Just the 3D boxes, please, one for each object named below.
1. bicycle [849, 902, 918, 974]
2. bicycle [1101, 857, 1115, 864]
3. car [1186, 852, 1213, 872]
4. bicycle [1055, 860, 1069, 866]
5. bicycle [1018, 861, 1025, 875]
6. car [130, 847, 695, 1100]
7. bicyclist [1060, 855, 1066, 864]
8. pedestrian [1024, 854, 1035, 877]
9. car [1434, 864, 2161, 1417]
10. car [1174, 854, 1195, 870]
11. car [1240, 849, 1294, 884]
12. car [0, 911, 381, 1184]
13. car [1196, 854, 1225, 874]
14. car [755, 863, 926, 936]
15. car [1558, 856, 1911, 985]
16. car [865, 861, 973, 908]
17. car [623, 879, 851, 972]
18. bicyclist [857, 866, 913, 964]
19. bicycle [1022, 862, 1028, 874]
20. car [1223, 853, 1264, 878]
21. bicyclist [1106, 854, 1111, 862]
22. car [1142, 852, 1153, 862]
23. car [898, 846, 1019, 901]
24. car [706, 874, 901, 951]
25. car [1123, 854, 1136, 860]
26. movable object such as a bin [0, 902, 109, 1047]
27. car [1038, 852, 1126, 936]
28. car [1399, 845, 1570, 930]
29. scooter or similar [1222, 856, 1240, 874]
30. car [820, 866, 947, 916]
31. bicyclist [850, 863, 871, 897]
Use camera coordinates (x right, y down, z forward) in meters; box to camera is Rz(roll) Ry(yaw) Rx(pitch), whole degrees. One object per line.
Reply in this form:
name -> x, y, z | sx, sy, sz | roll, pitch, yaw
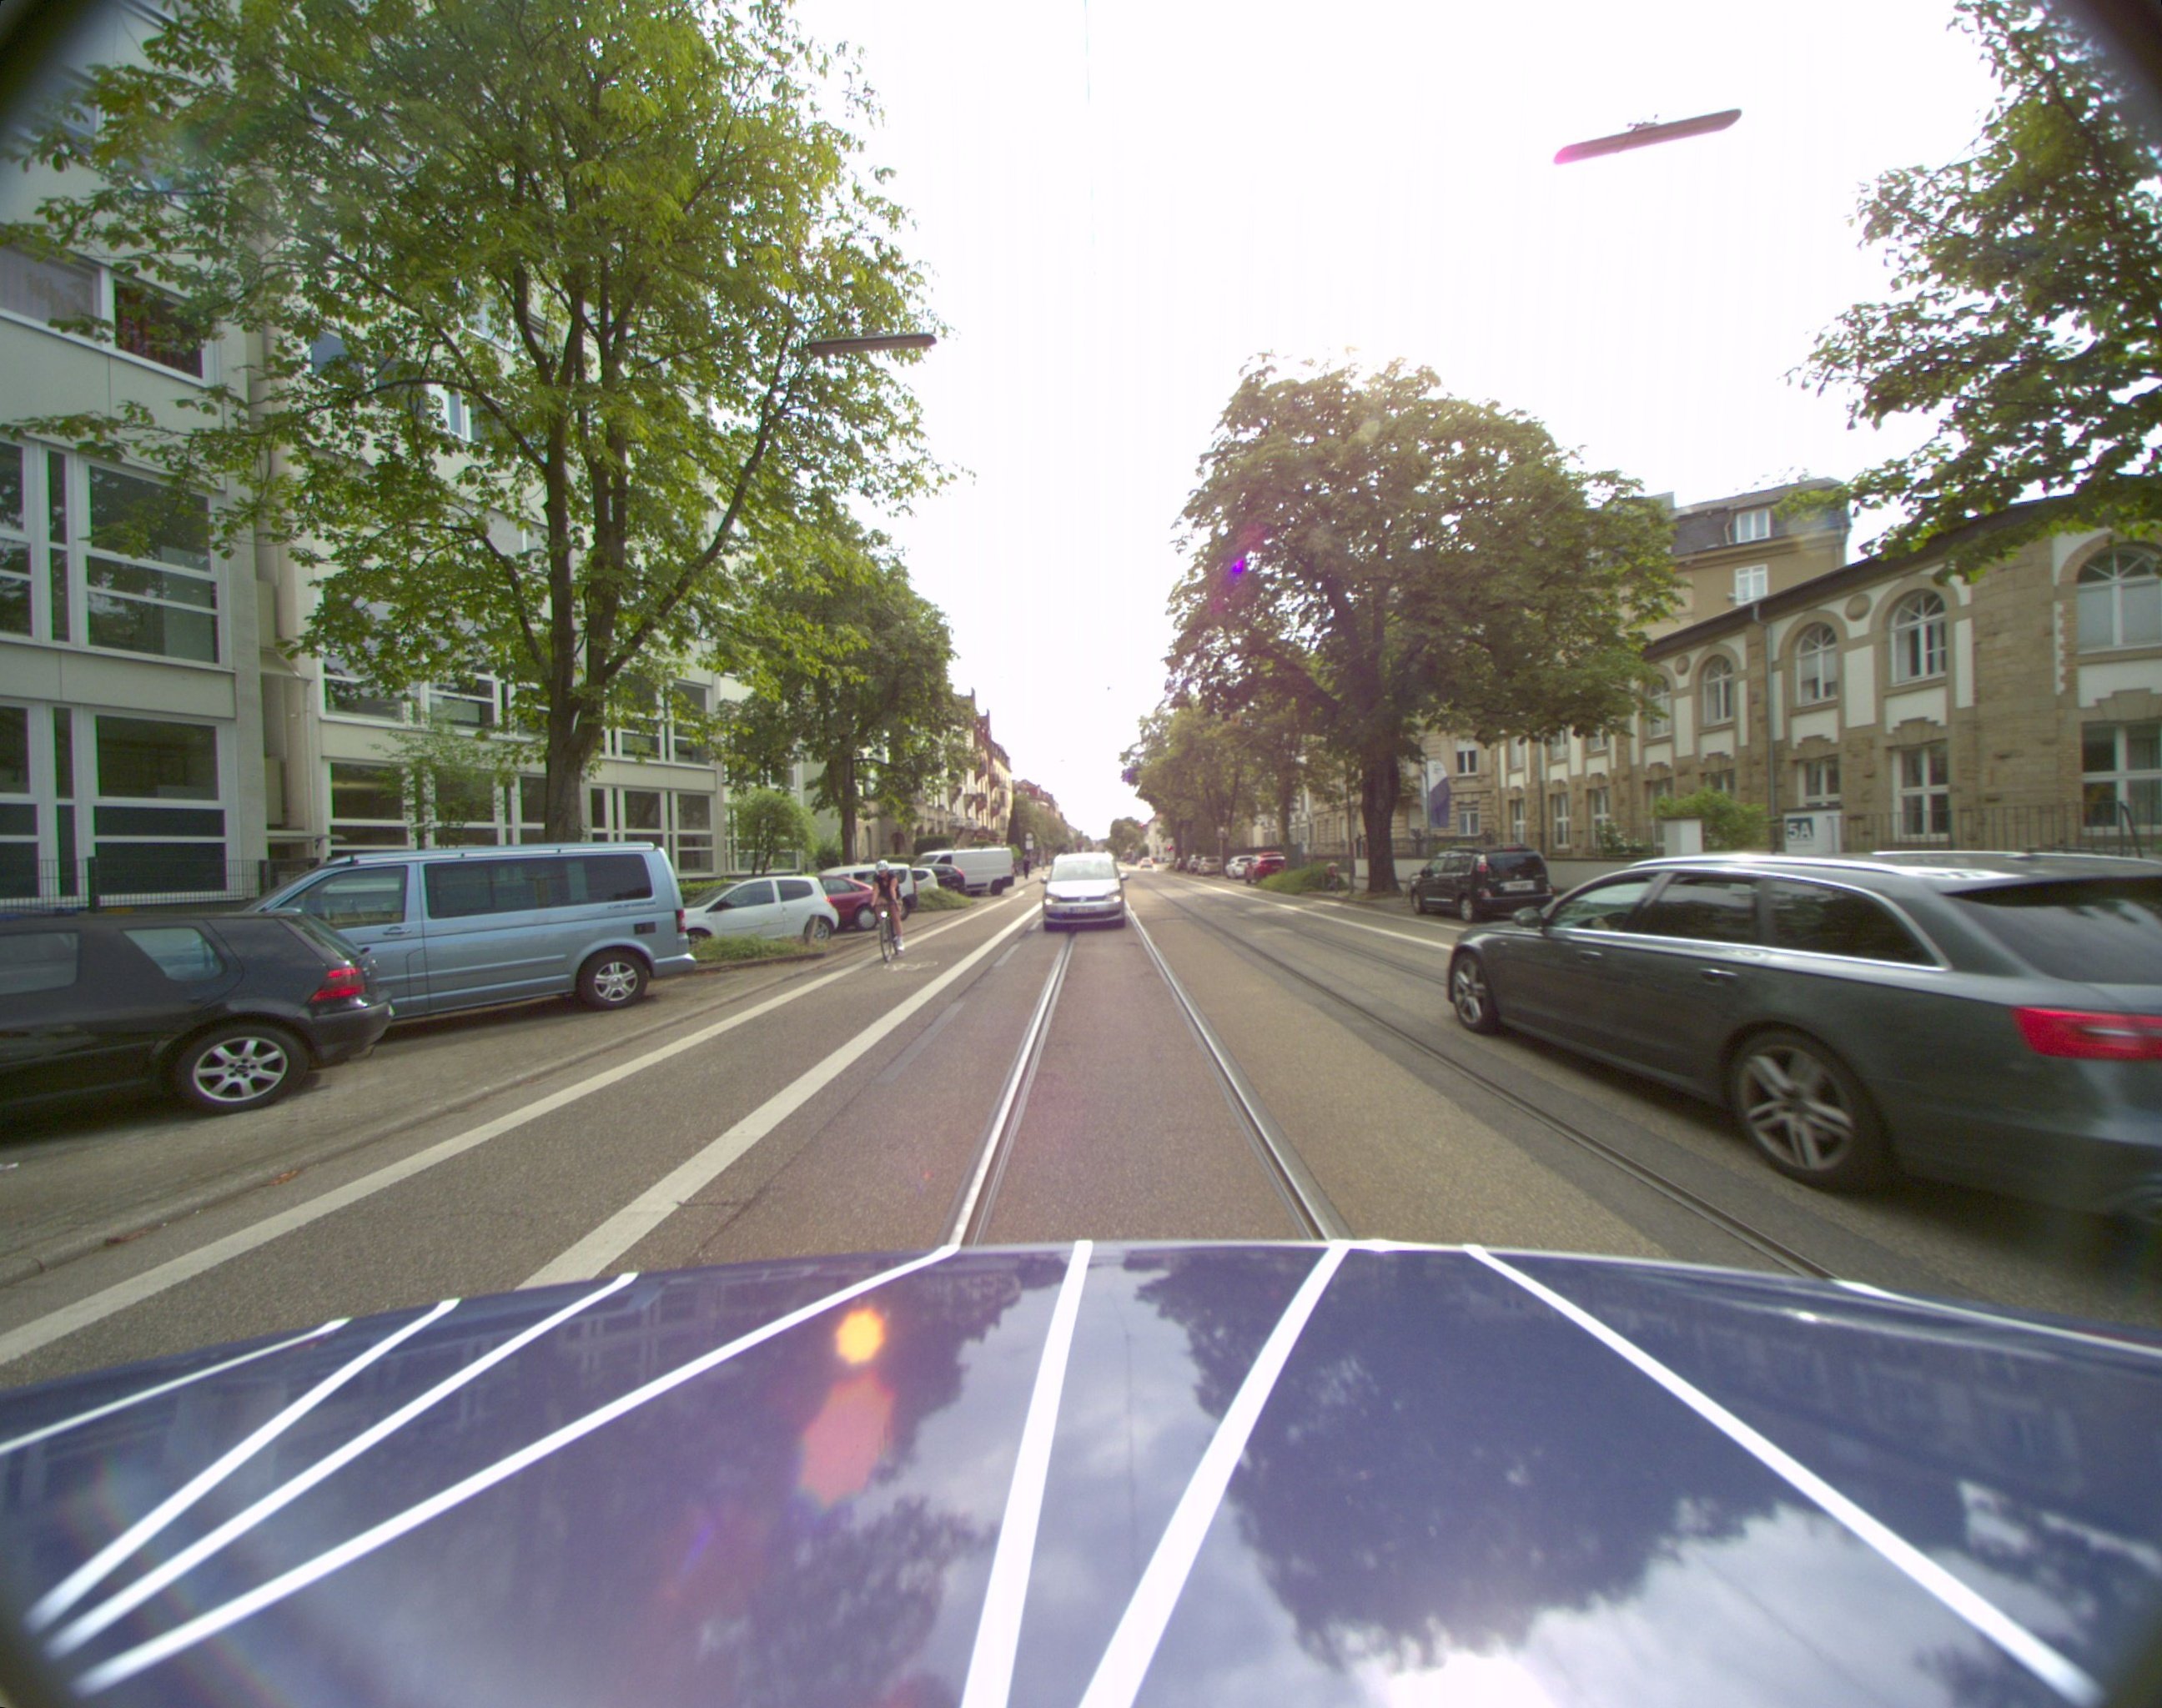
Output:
bicycle -> -3.287, 1.375, 12.849 | 0.640, 0.975, 2.071 | -1, 0, -1
bicycle -> 4.491, 1.054, 124.620 | 2.196, 1.019, 0.615 | -2, 0, 12
car -> 10.371, 0.688, 66.939 | 1.714, 1.664, 4.357 | -2, 0, 1
bicycle -> -3.073, 1.499, 125.233 | 2.195, 1.019, 0.616 | -2, 0, 20
bicycle -> -5.257, 1.229, 66.708 | 0.392, 1.135, 1.921 | 0, 0, 2
car -> -6.949, 1.006, 8.474 | 4.284, 2.003, 1.826 | -3, 1, -43
bicyclist -> -3.007, 0.958, 125.207 | 0.709, 1.421, 0.616 | -2, 1, 21
pedestrian -> -4.010, 0.870, 58.912 | 0.787, 1.723, 0.896 | 1, 0, 1
car -> 3.993, 0.844, 4.359 | 1.839, 1.439, 4.553 | -2, 0, 1
car -> 10.713, 0.802, 78.892 | 1.724, 1.416, 4.167 | -4, 0, 3
car -> 9.785, 0.639, 40.335 | 1.725, 1.645, 4.542 | -4, 0, 0
car -> -7.291, 1.290, 4.986 | 1.672, 1.451, 3.836 | -2, 1, 45
car -> 10.070, 0.782, 59.274 | 1.604, 1.459, 4.079 | -2, 0, 1
car -> -6.577, 1.179, 21.075 | 4.116, 1.658, 1.685 | -3, 1, -44
car -> 8.867, 0.784, 10.831 | 1.697, 1.419, 3.868 | -3, 0, 1
car -> -6.602, 1.219, 31.272 | 3.968, 1.639, 1.685 | -3, 1, -43
car -> -6.749, 1.306, 15.140 | 3.723, 1.424, 1.685 | -3, 1, -43
bicyclist -> -3.292, 1.000, 12.837 | 0.640, 1.561, 1.110 | -1, 0, -1
bicycle -> -5.085, 1.276, 69.420 | 0.392, 1.096, 1.759 | 0, 0, 2
car -> 10.395, 0.689, 48.929 | 1.725, 1.415, 4.023 | -4, 0, 0
bicyclist -> 4.506, 0.652, 124.627 | 0.773, 1.357, 0.615 | -2, 1, 12
car -> 9.327, 0.446, 106.561 | 1.574, 1.408, 4.002 | 0, 0, 5
car -> -5.688, 0.865, 35.635 | 4.968, 2.277, 2.378 | -3, 1, -41
car -> -6.555, 1.306, 18.183 | 3.983, 1.424, 1.685 | -3, 1, -41
car -> 16.532, 0.924, 258.870 | 3.996, 1.716, 1.877 | -3, 0, 4
movable object such as a bin -> -12.168, 1.345, 8.399 | 1.072, 1.499, 1.323 | -3, 0, 2
car -> 0.103, 0.845, 18.103 | 1.767, 1.661, 4.330 | -3, 0, 2
car -> 9.037, 0.686, 17.438 | 1.760, 1.637, 4.052 | -3, 0, 1
scooter or similar -> 10.314, 0.779, 52.222 | 0.563, 1.216, 1.321 | -2, 0, -22
car -> -7.096, 1.301, 27.548 | 4.100, 1.502, 1.685 | -3, 1, -43
bicyclist -> -9.660, 1.124, 33.333 | 0.649, 1.461, 0.801 | 0, 0, 1
